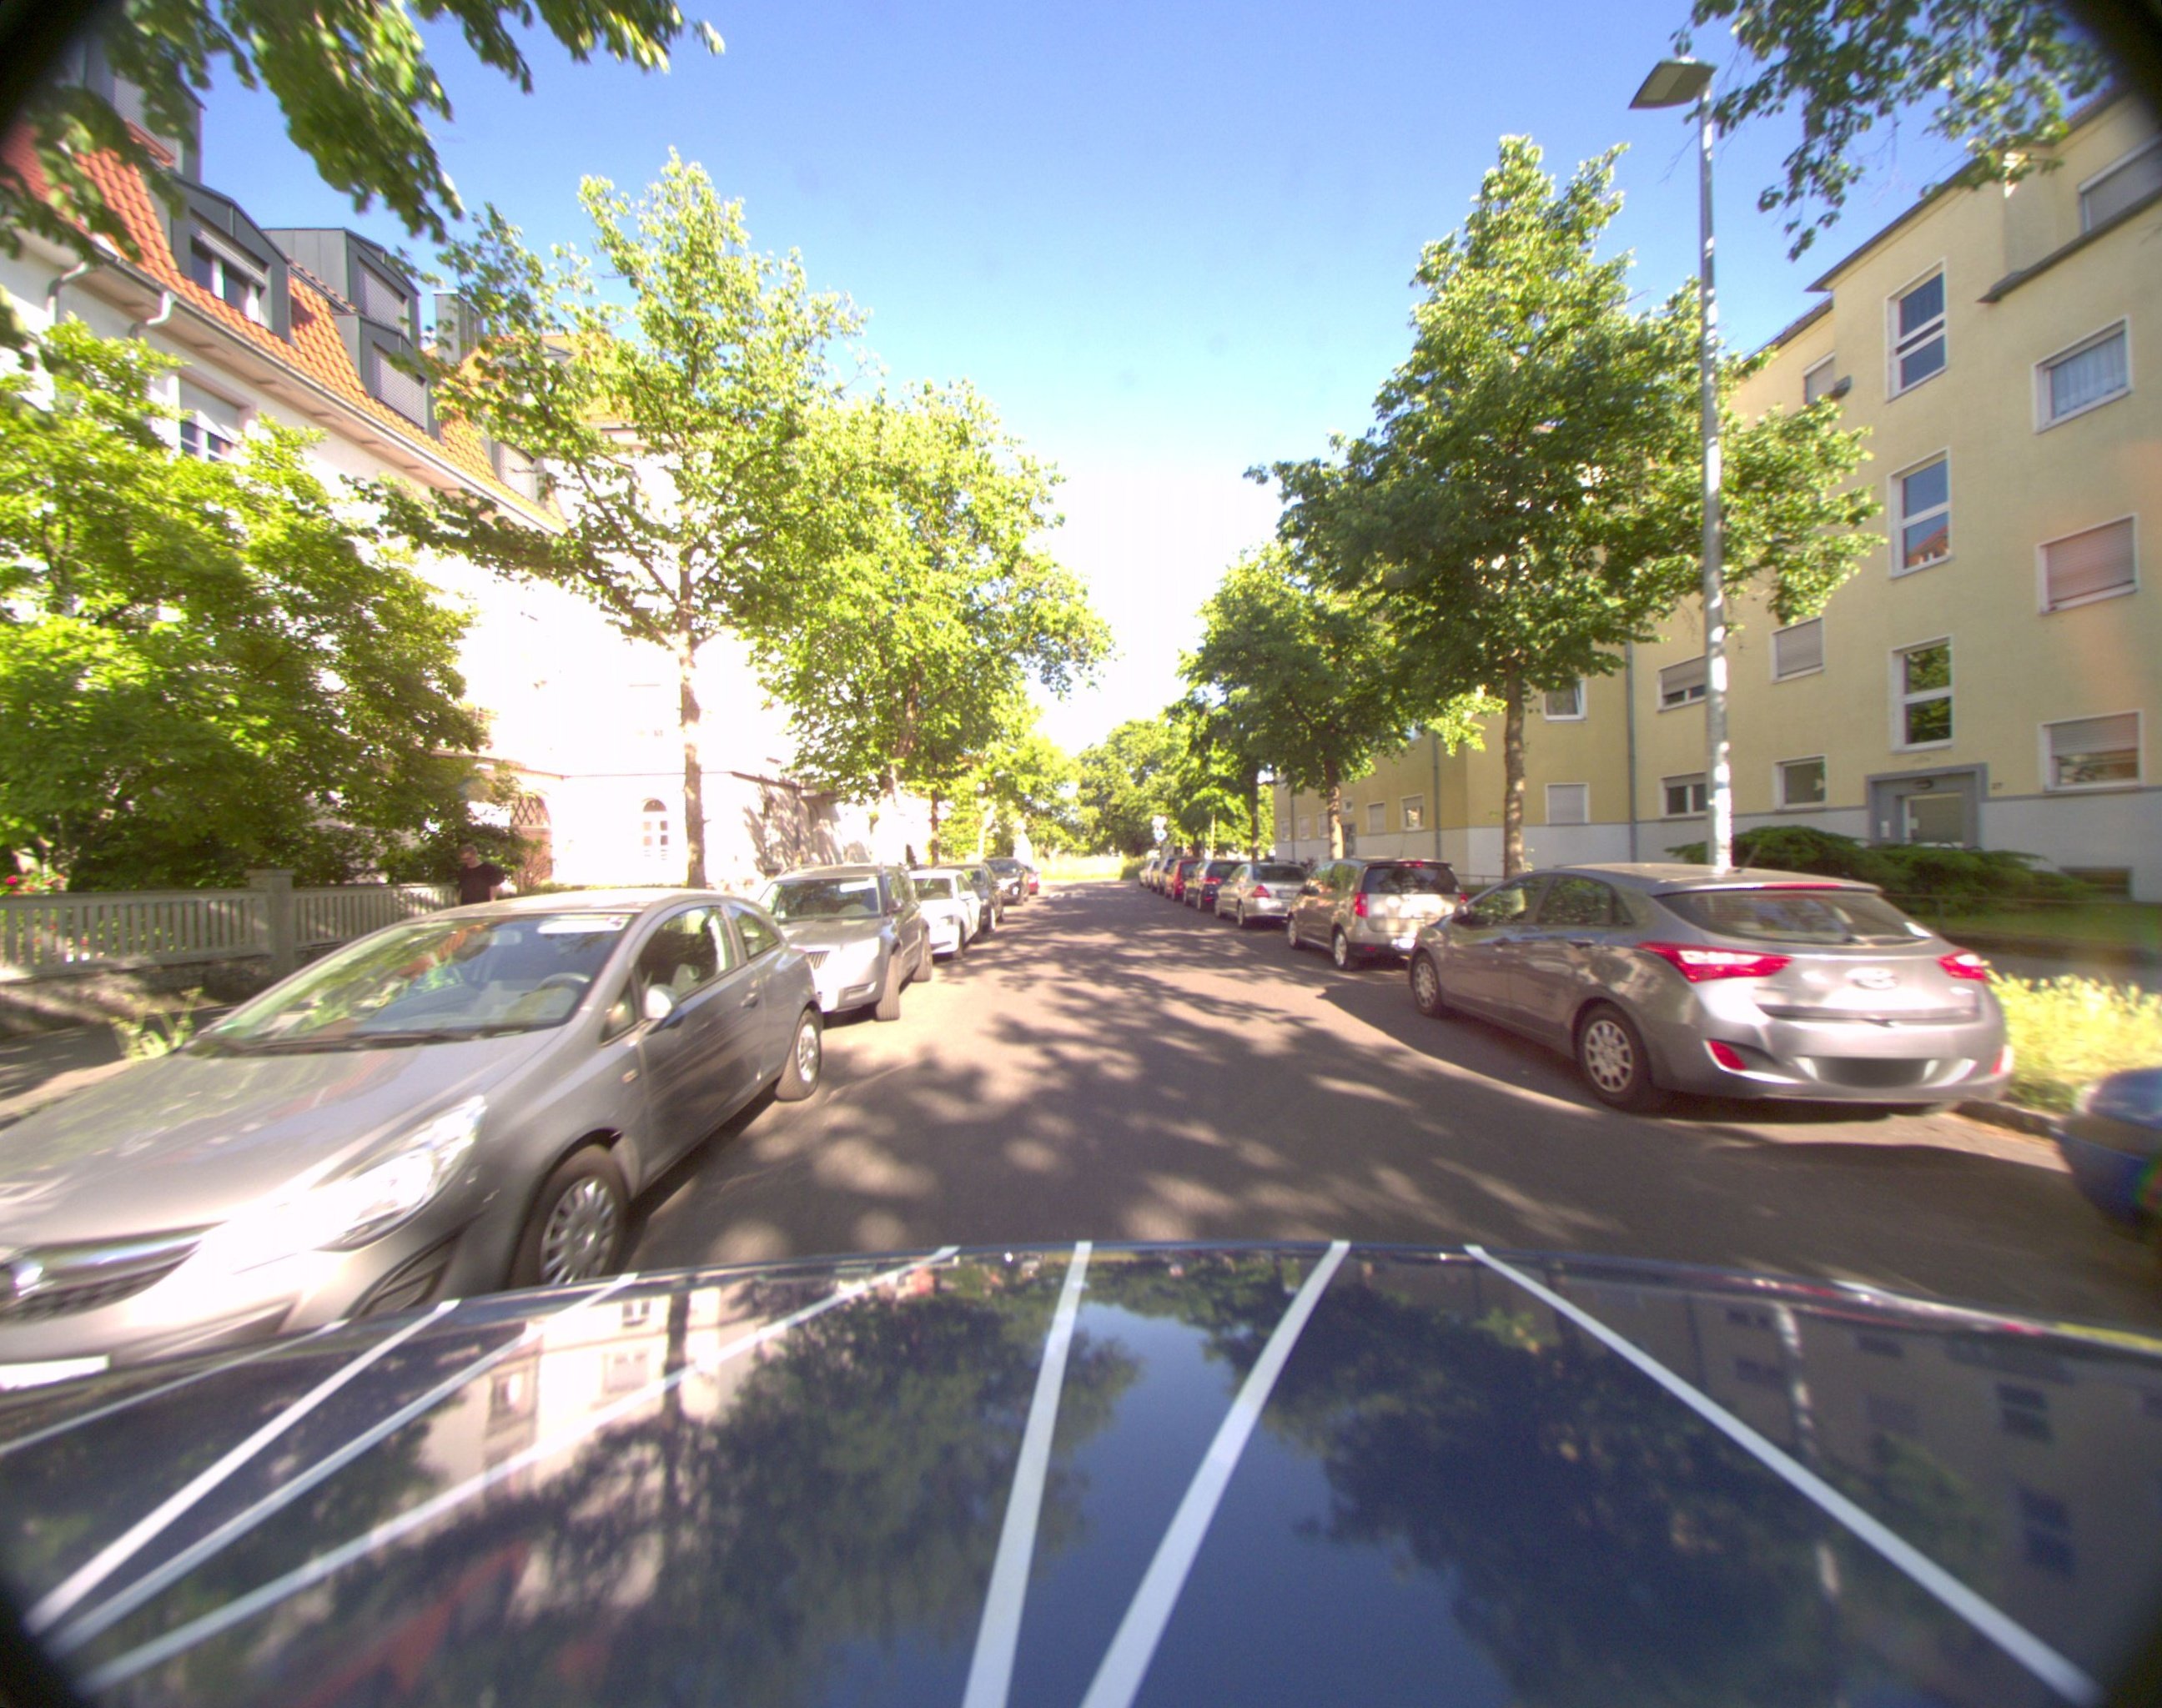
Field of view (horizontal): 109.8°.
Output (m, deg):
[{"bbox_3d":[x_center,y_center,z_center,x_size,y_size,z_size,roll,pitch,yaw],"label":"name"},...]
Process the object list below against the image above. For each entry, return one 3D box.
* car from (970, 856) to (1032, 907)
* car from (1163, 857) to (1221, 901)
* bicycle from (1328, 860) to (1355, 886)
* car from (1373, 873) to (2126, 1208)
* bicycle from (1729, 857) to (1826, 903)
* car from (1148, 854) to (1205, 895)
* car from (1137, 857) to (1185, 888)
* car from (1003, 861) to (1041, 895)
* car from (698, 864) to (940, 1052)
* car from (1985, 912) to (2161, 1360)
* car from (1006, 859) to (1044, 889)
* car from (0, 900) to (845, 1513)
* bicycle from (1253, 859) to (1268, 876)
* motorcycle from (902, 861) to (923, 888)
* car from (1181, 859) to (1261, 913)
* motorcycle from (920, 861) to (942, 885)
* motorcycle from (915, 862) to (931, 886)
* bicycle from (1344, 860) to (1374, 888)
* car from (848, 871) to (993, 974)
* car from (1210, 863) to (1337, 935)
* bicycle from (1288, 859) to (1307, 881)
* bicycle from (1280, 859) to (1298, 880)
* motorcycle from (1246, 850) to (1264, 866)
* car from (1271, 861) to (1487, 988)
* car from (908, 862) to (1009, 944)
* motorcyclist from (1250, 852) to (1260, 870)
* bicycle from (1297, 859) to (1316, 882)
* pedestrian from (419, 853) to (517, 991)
[{"bbox_3d":[-2.809,0.927,27.476,1.785,1.688,4.297,-1,0,0],"label":"car"},{"bbox_3d":[4.001,0.860,27.816,1.669,1.477,3.256,-1,0,0],"label":"car"},{"bbox_3d":[10.643,0.763,31.092,0.541,1.021,1.748,-1,0,2],"label":"bicycle"},{"bbox_3d":[4.007,0.925,5.888,1.796,1.436,4.688,0,0,2],"label":"car"},{"bbox_3d":[14.625,0.530,15.965,1.637,0.925,0.481,-1,0,-3],"label":"bicycle"},{"bbox_3d":[3.987,0.818,32.399,1.696,1.555,4.735,-1,0,-2],"label":"car"},{"bbox_3d":[4.031,0.899,38.820,1.765,1.433,3.993,-1,0,-3],"label":"car"},{"bbox_3d":[-2.658,1.031,34.577,1.616,1.401,4.350,-1,0,-4],"label":"car"},{"bbox_3d":[-2.780,0.989,8.976,1.653,1.646,3.846,-2,0,-3],"label":"car"},{"bbox_3d":[4.243,0.914,1.043,1.524,1.387,3.726,-1,0,-1],"label":"car"},{"bbox_3d":[-2.856,1.012,39.414,1.657,1.394,4.135,-1,0,-1],"label":"car"},{"bbox_3d":[-2.549,1.060,3.857,1.653,1.420,3.612,-1,0,-2],"label":"car"},{"bbox_3d":[10.476,0.786,44.396,0.477,0.995,1.545,-1,0,1],"label":"bicycle"},{"bbox_3d":[-8.653,1.034,39.061,0.540,1.353,2.089,-2,0,0],"label":"motorcycle"},{"bbox_3d":[4.126,0.887,22.917,1.669,1.450,3.932,-1,0,0],"label":"car"},{"bbox_3d":[-8.529,1.061,43.293,0.973,1.321,1.852,-2,0,-5],"label":"motorcycle"},{"bbox_3d":[-8.613,1.079,41.423,0.658,1.272,1.799,0,0,-7],"label":"motorcycle"},{"bbox_3d":[10.648,0.748,29.159,0.537,1.021,1.748,-1,0,2],"label":"bicycle"},{"bbox_3d":[-2.676,1.082,13.621,1.634,1.416,4.368,-1,0,0],"label":"car"},{"bbox_3d":[4.216,0.925,17.440,1.750,1.360,4.674,0,0,0],"label":"car"},{"bbox_3d":[10.470,0.759,36.771,0.513,0.995,1.545,-1,0,0],"label":"bicycle"},{"bbox_3d":[10.578,0.776,38.654,0.435,0.995,1.681,-1,0,0],"label":"bicycle"},{"bbox_3d":[13.623,0.293,59.492,1.636,1.168,0.553,-2,1,-43],"label":"motorcycle"},{"bbox_3d":[4.207,0.886,11.502,1.624,1.506,4.269,1,0,1],"label":"car"},{"bbox_3d":[-2.783,1.049,18.216,1.688,1.578,4.535,-4,0,-1],"label":"car"},{"bbox_3d":[13.624,0.562,59.491,0.521,1.394,0.553,-2,1,-44],"label":"motorcyclist"},{"bbox_3d":[10.406,0.756,35.104,0.516,0.995,1.545,-1,0,3],"label":"bicycle"},{"bbox_3d":[-8.187,0.874,10.181,0.624,1.764,0.799,0,1,0],"label":"pedestrian"}]
